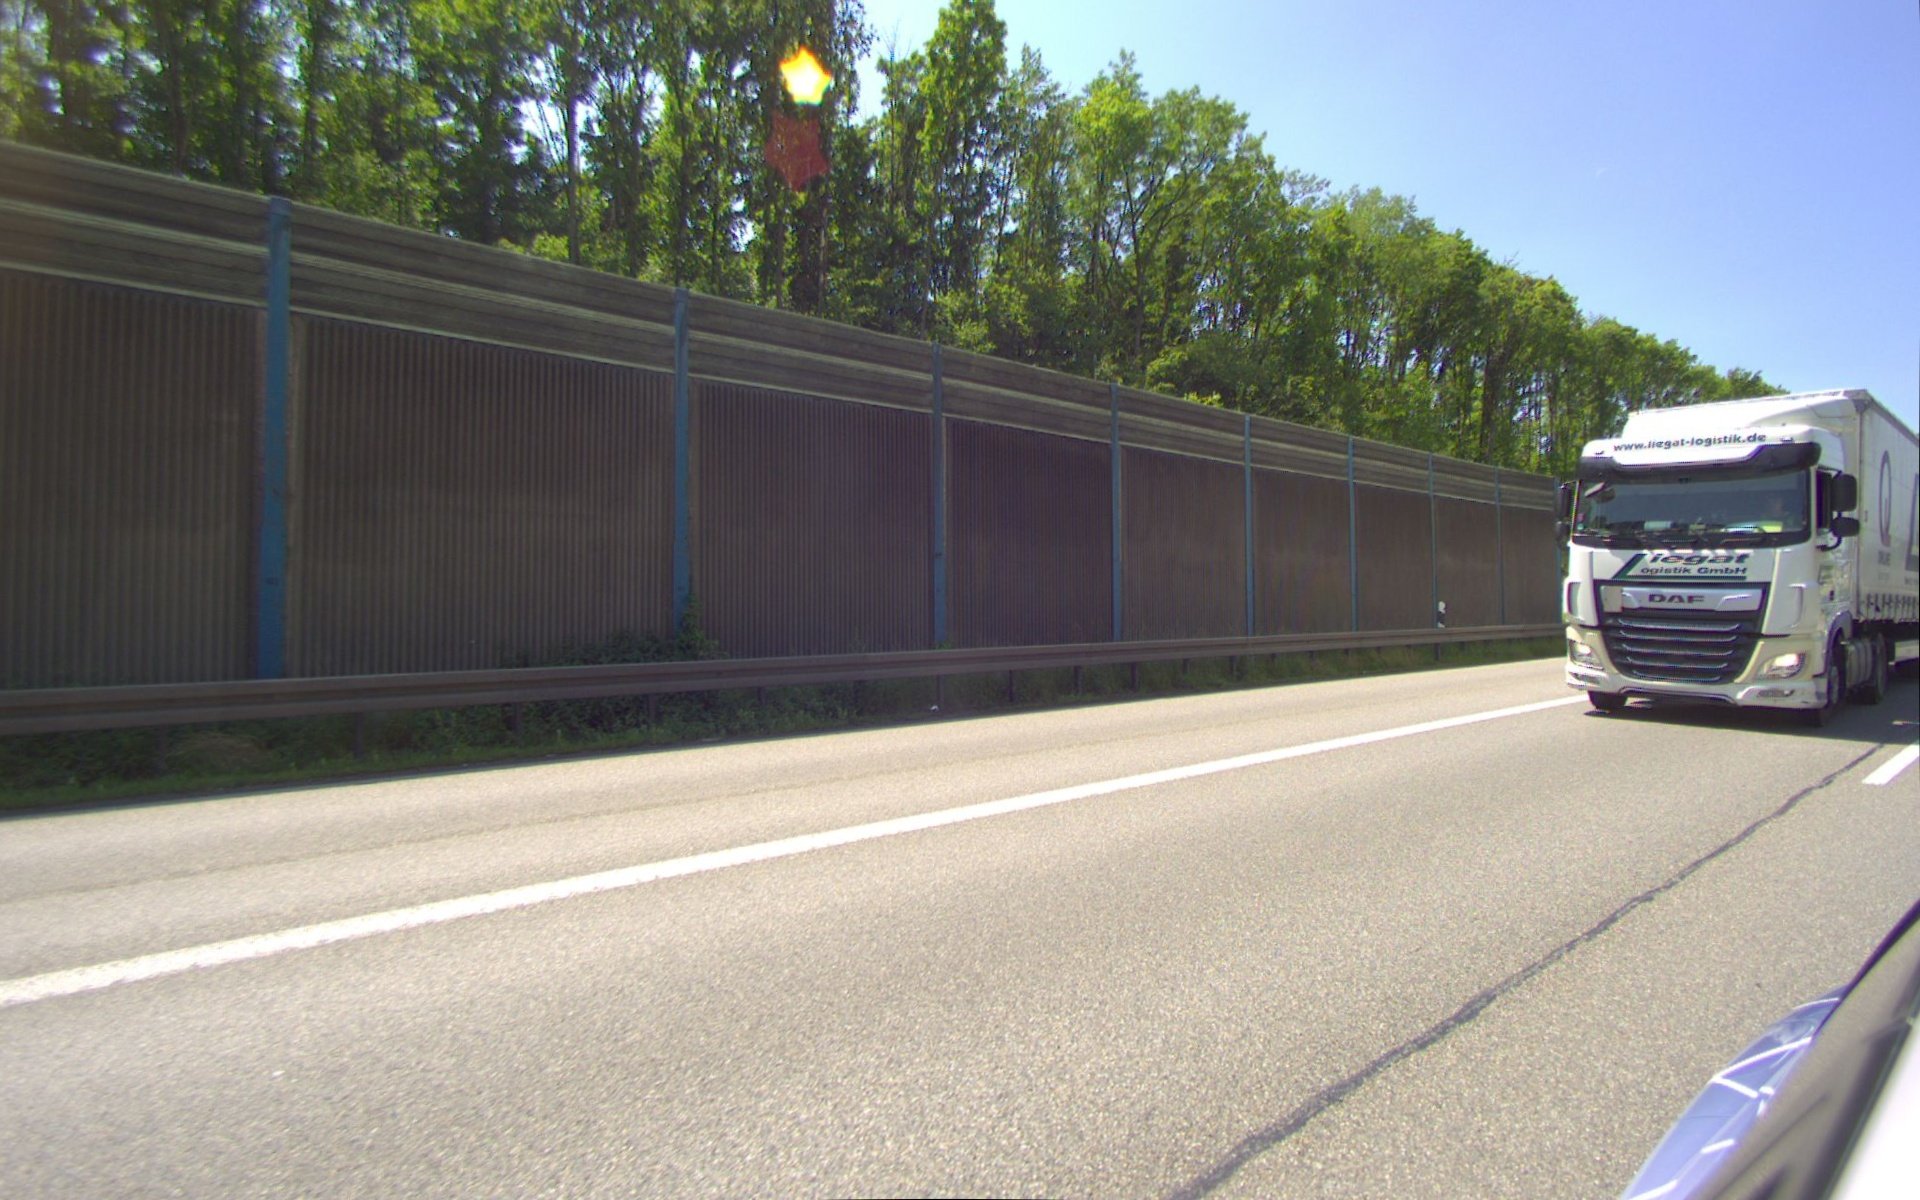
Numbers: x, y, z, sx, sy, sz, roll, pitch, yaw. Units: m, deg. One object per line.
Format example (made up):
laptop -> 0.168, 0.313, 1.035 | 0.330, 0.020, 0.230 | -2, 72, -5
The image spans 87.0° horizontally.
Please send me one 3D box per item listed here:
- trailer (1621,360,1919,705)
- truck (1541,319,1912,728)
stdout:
trailer -> 15.378, -0.830, 17.791 | 13.009, 4.258, 2.791 | 0, 0, -41
truck -> 10.357, -0.799, 13.489 | 5.765, 4.258, 2.791 | 0, 0, -40
